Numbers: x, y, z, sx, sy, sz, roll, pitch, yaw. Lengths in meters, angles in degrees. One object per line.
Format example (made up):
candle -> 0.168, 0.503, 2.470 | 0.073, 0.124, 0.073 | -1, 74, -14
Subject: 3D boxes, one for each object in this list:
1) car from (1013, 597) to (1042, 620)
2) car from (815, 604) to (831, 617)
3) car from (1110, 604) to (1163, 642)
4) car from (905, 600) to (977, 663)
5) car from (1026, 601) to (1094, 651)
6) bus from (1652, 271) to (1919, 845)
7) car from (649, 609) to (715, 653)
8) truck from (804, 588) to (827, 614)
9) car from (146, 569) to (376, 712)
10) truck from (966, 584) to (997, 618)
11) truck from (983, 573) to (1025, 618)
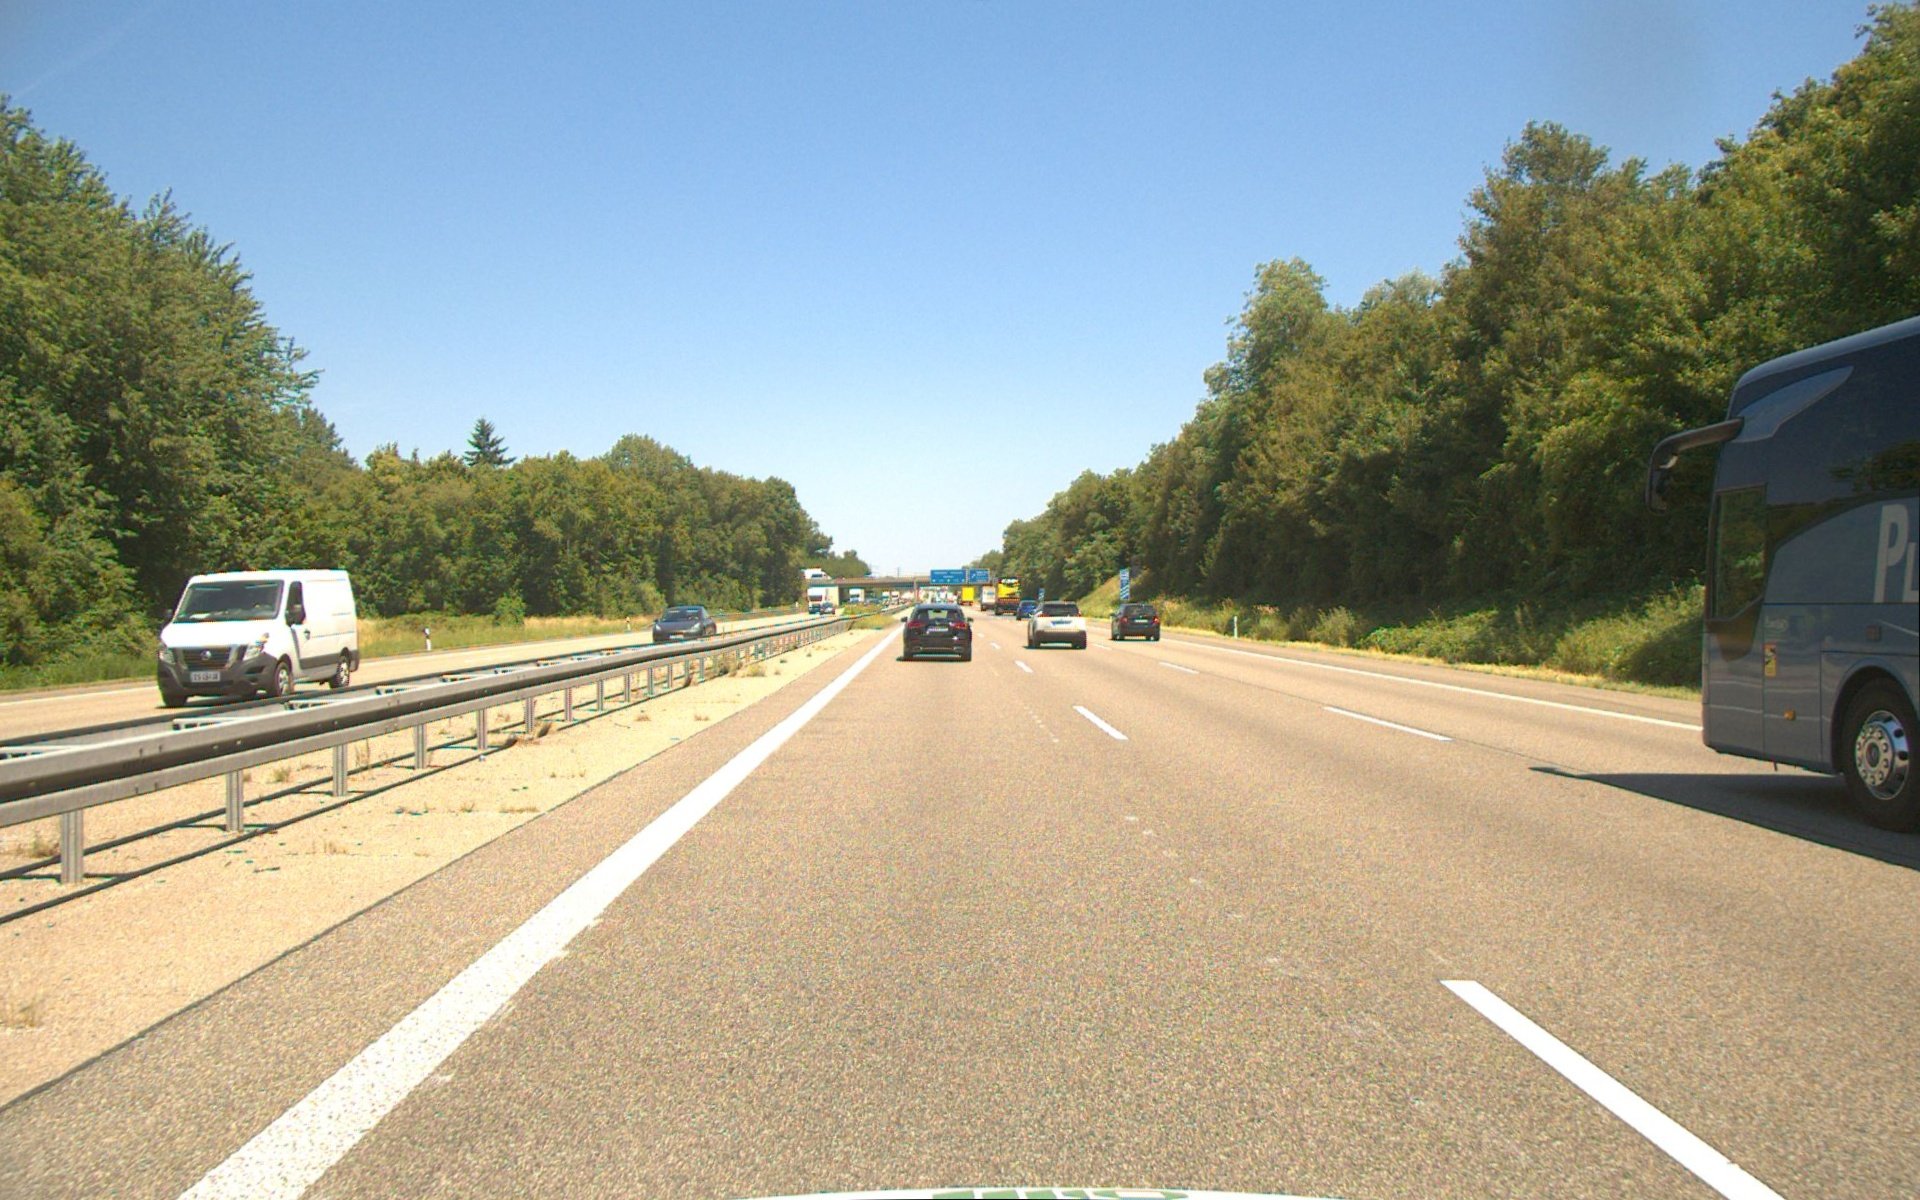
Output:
car -> 5.437, 0.681, 133.266 | 2.034, 1.781, 4.239 | -1, 0, -2
car -> -17.218, 1.311, 207.719 | 1.763, 1.559, 4.676 | 0, 0, -2
car -> 7.124, 0.918, 67.076 | 1.753, 1.487, 3.949 | 0, 0, 0
car -> -0.534, 0.778, 43.051 | 1.763, 1.528, 4.240 | 0, 0, -2
car -> 3.276, 0.840, 55.069 | 1.861, 1.559, 4.240 | 0, 0, -2
bus -> 7.574, -0.271, 8.186 | 2.746, 3.659, 12.469 | 0, 0, -2
car -> -10.061, 1.092, 60.107 | 1.769, 1.506, 4.566 | -1, 0, -2
truck -> -21.447, 0.085, 245.408 | 2.739, 3.696, 10.693 | -1, 0, -2
car -> -12.482, 0.668, 29.968 | 2.045, 2.328, 5.275 | -1, 0, -2
truck -> 2.988, 0.135, 237.844 | 3.574, 4.670, 17.240 | 1, 0, -2
truck -> 4.695, -0.418, 180.017 | 3.574, 4.670, 15.759 | 1, 0, -2
